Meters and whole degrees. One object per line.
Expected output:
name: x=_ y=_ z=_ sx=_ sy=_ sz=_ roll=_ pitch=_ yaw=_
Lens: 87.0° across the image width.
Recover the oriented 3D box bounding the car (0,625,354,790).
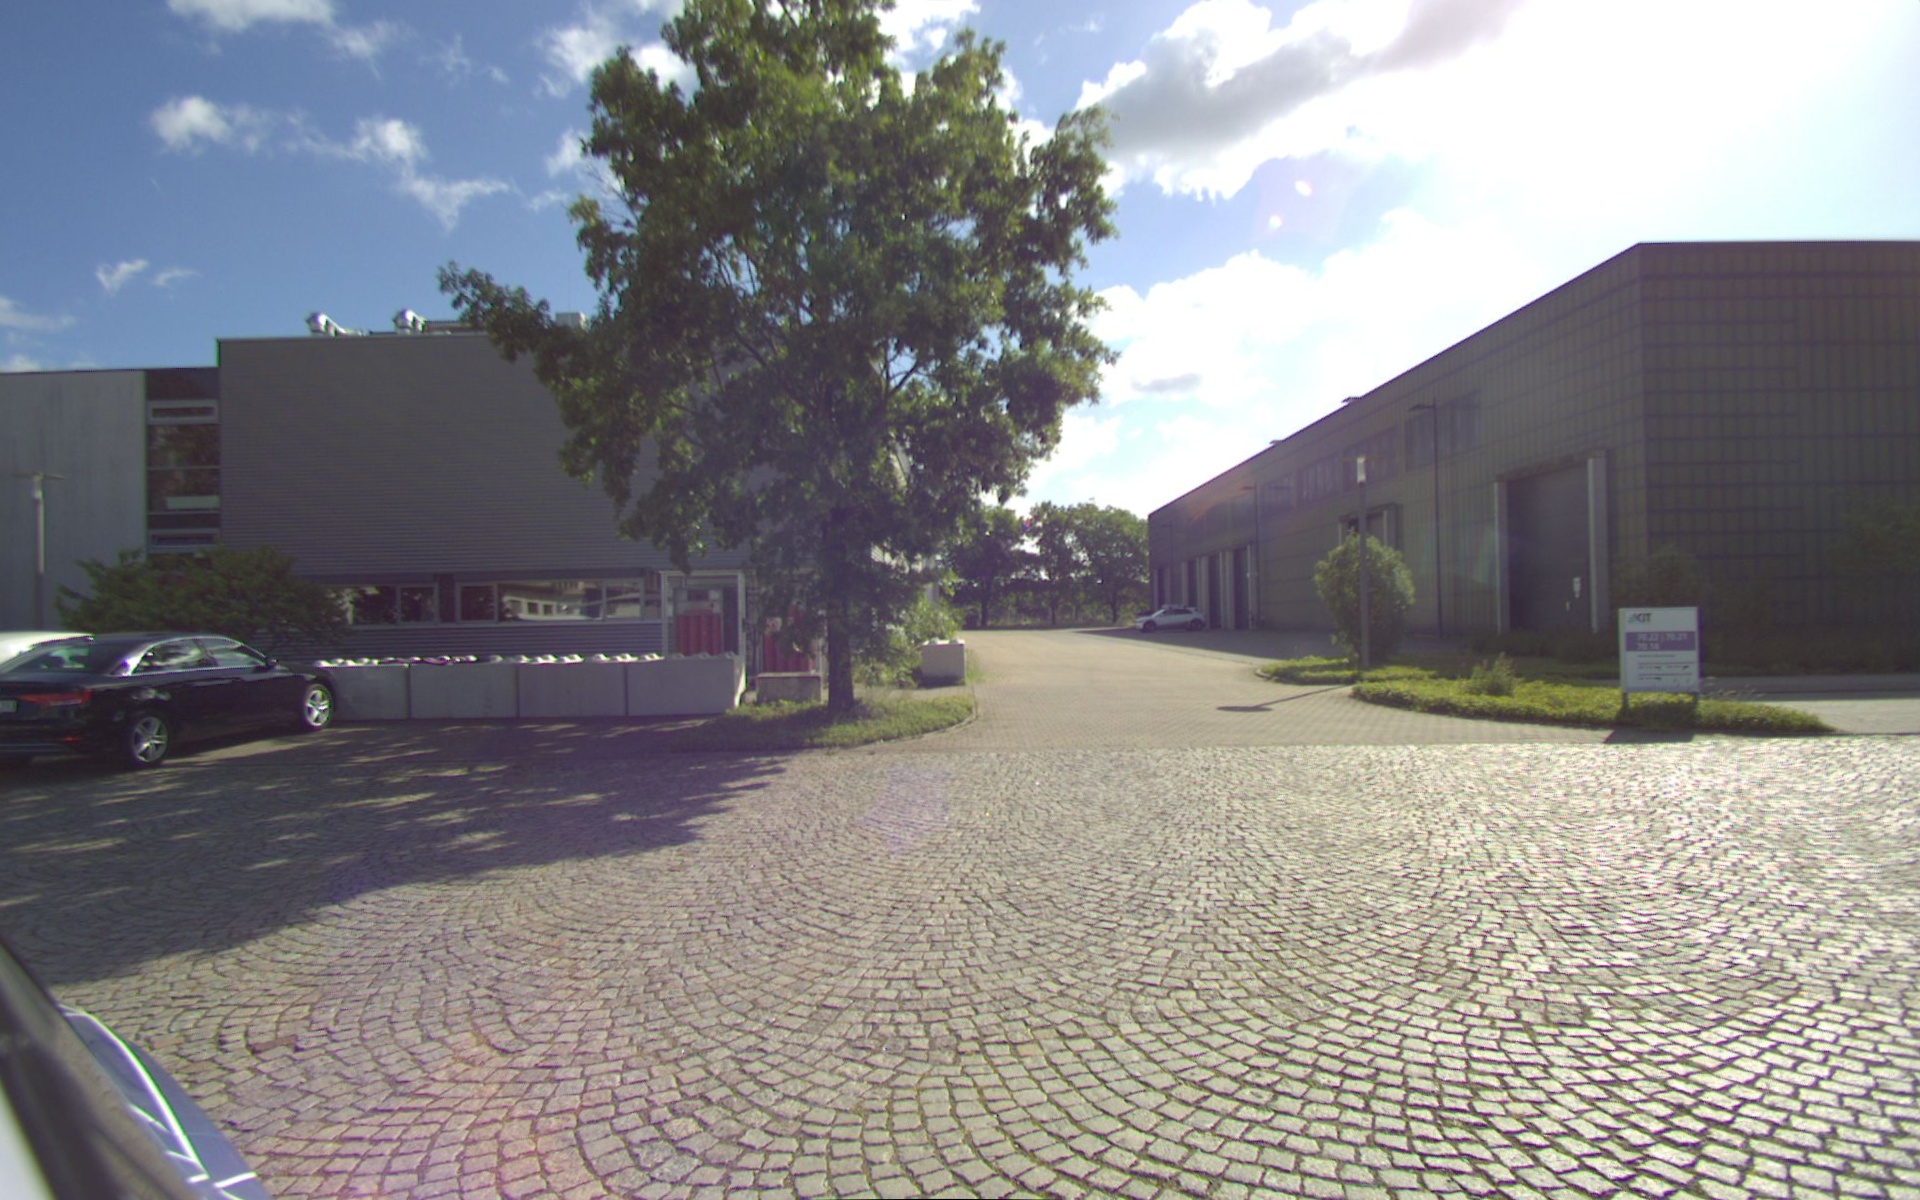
car: x=-9.500 y=1.102 z=12.075 sx=1.732 sy=1.434 sz=4.735 roll=-1 pitch=0 yaw=-1

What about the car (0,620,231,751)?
car: x=-12.190 y=1.080 z=13.506 sx=1.670 sy=1.471 sz=4.145 roll=-1 pitch=0 yaw=5

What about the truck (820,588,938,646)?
truck: x=-5.645 y=1.209 z=71.231 sx=7.992 sy=3.847 sz=2.649 roll=-2 pitch=-2 yaw=1

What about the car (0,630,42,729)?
car: x=-14.586 y=1.176 z=13.148 sx=1.704 sy=1.382 sz=3.924 roll=-1 pitch=0 yaw=1

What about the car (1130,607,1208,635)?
car: x=13.379 y=1.322 z=64.931 sx=4.515 sy=1.675 sz=2.000 roll=-1 pitch=-1 yaw=0
